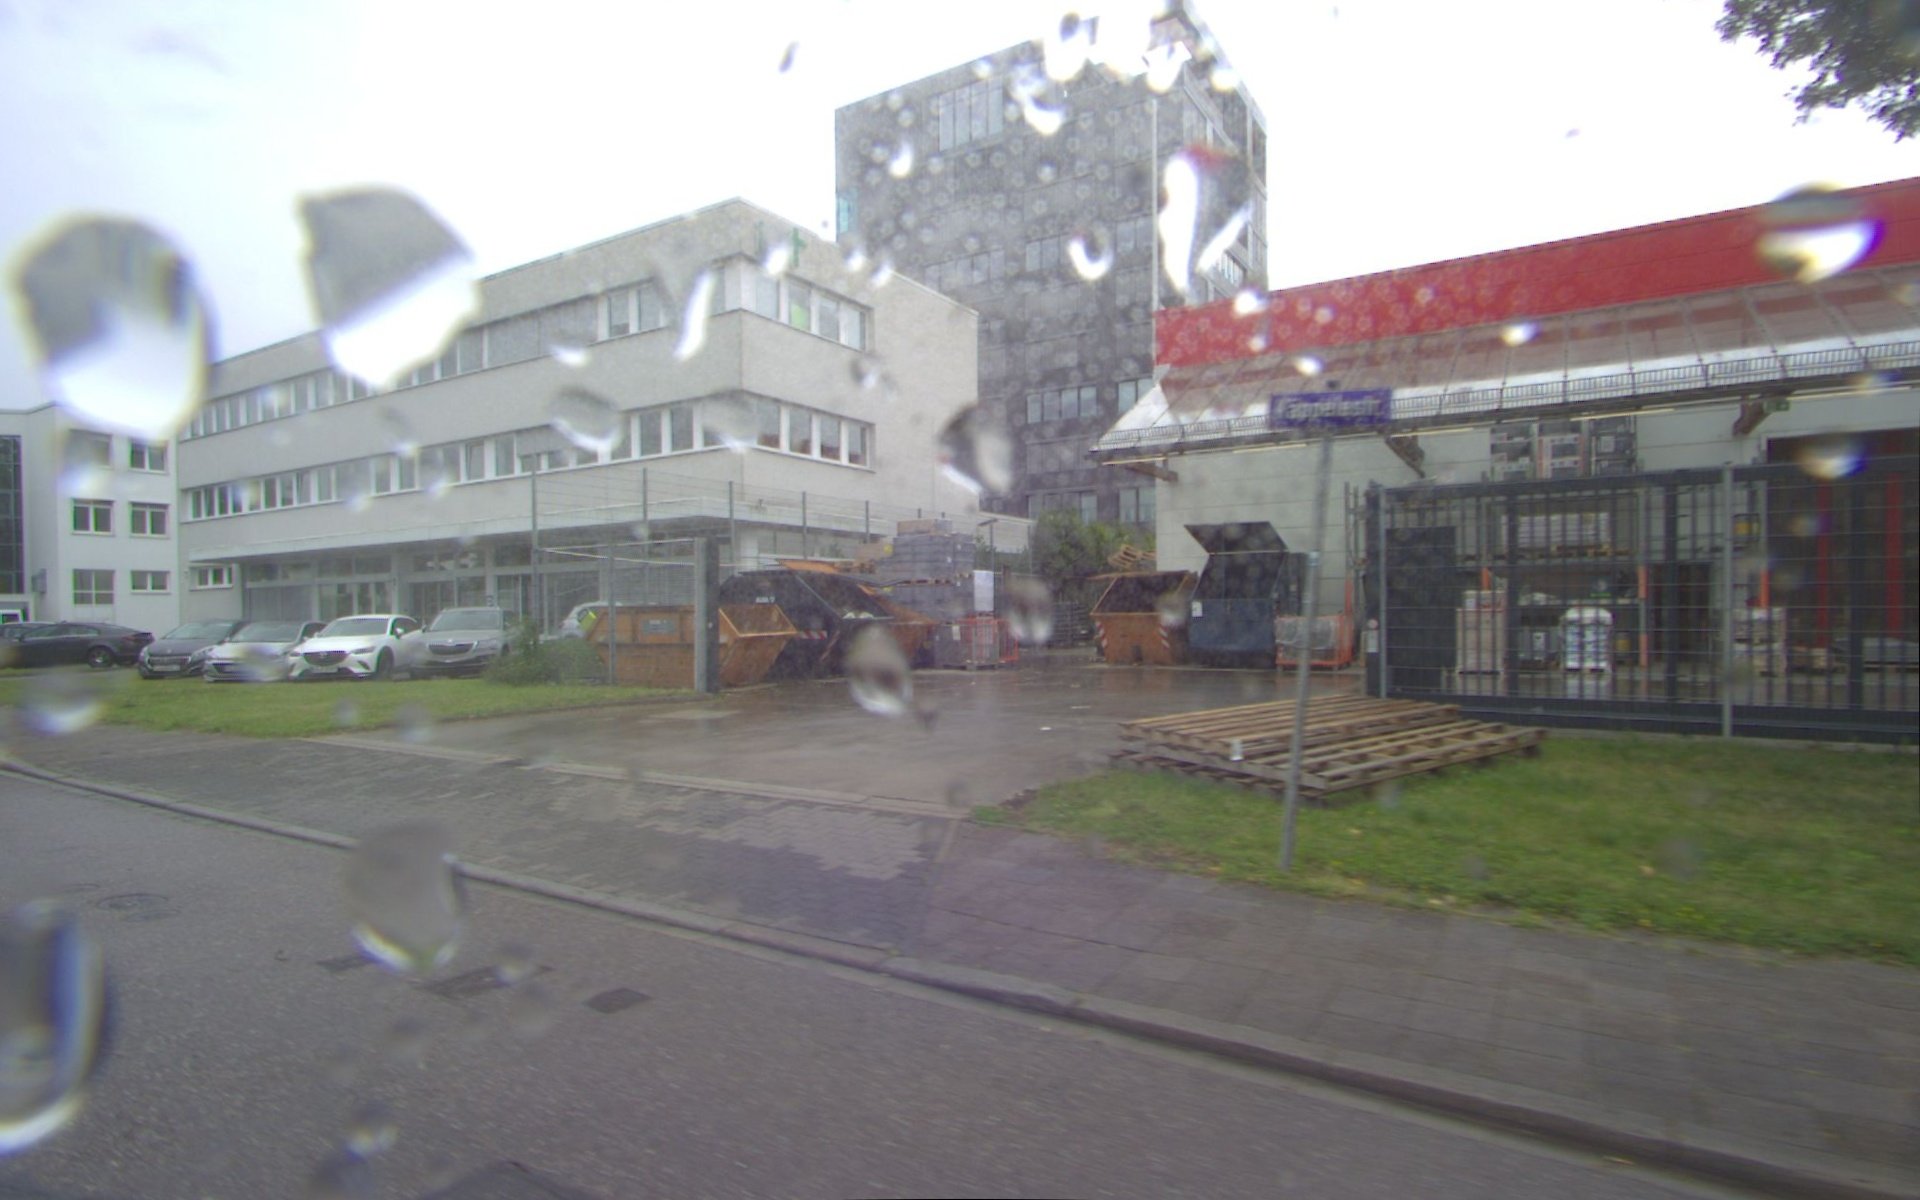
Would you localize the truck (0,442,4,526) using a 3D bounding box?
[{"bbox_3d":[-16.624,-0.065,13.969,9.170,3.836,2.736,-1,-3,34],"label":"truck"}]

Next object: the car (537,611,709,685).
[{"bbox_3d":[-8.487,1.153,25.159,4.084,1.728,1.989,-1,0,32],"label":"car"}]

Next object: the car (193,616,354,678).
[{"bbox_3d":[-16.102,1.041,23.733,1.675,1.303,3.997,0,0,-11],"label":"car"}]

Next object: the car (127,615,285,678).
[{"bbox_3d":[-18.771,1.108,25.132,1.675,1.411,3.765,0,0,-11],"label":"car"}]

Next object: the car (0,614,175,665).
[{"bbox_3d":[-28.053,1.225,31.748,4.595,1.487,1.787,0,0,-19],"label":"car"}]

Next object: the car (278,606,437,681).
[{"bbox_3d":[-13.219,0.904,22.257,1.742,1.489,3.997,0,0,-11],"label":"car"}]

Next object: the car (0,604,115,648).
[{"bbox_3d":[-45.017,1.269,48.174,1.970,2.039,6.449,-1,-2,29],"label":"car"}]

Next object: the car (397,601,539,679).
[{"bbox_3d":[-10.700,0.821,22.079,1.838,1.547,3.996,0,0,-12],"label":"car"}]
